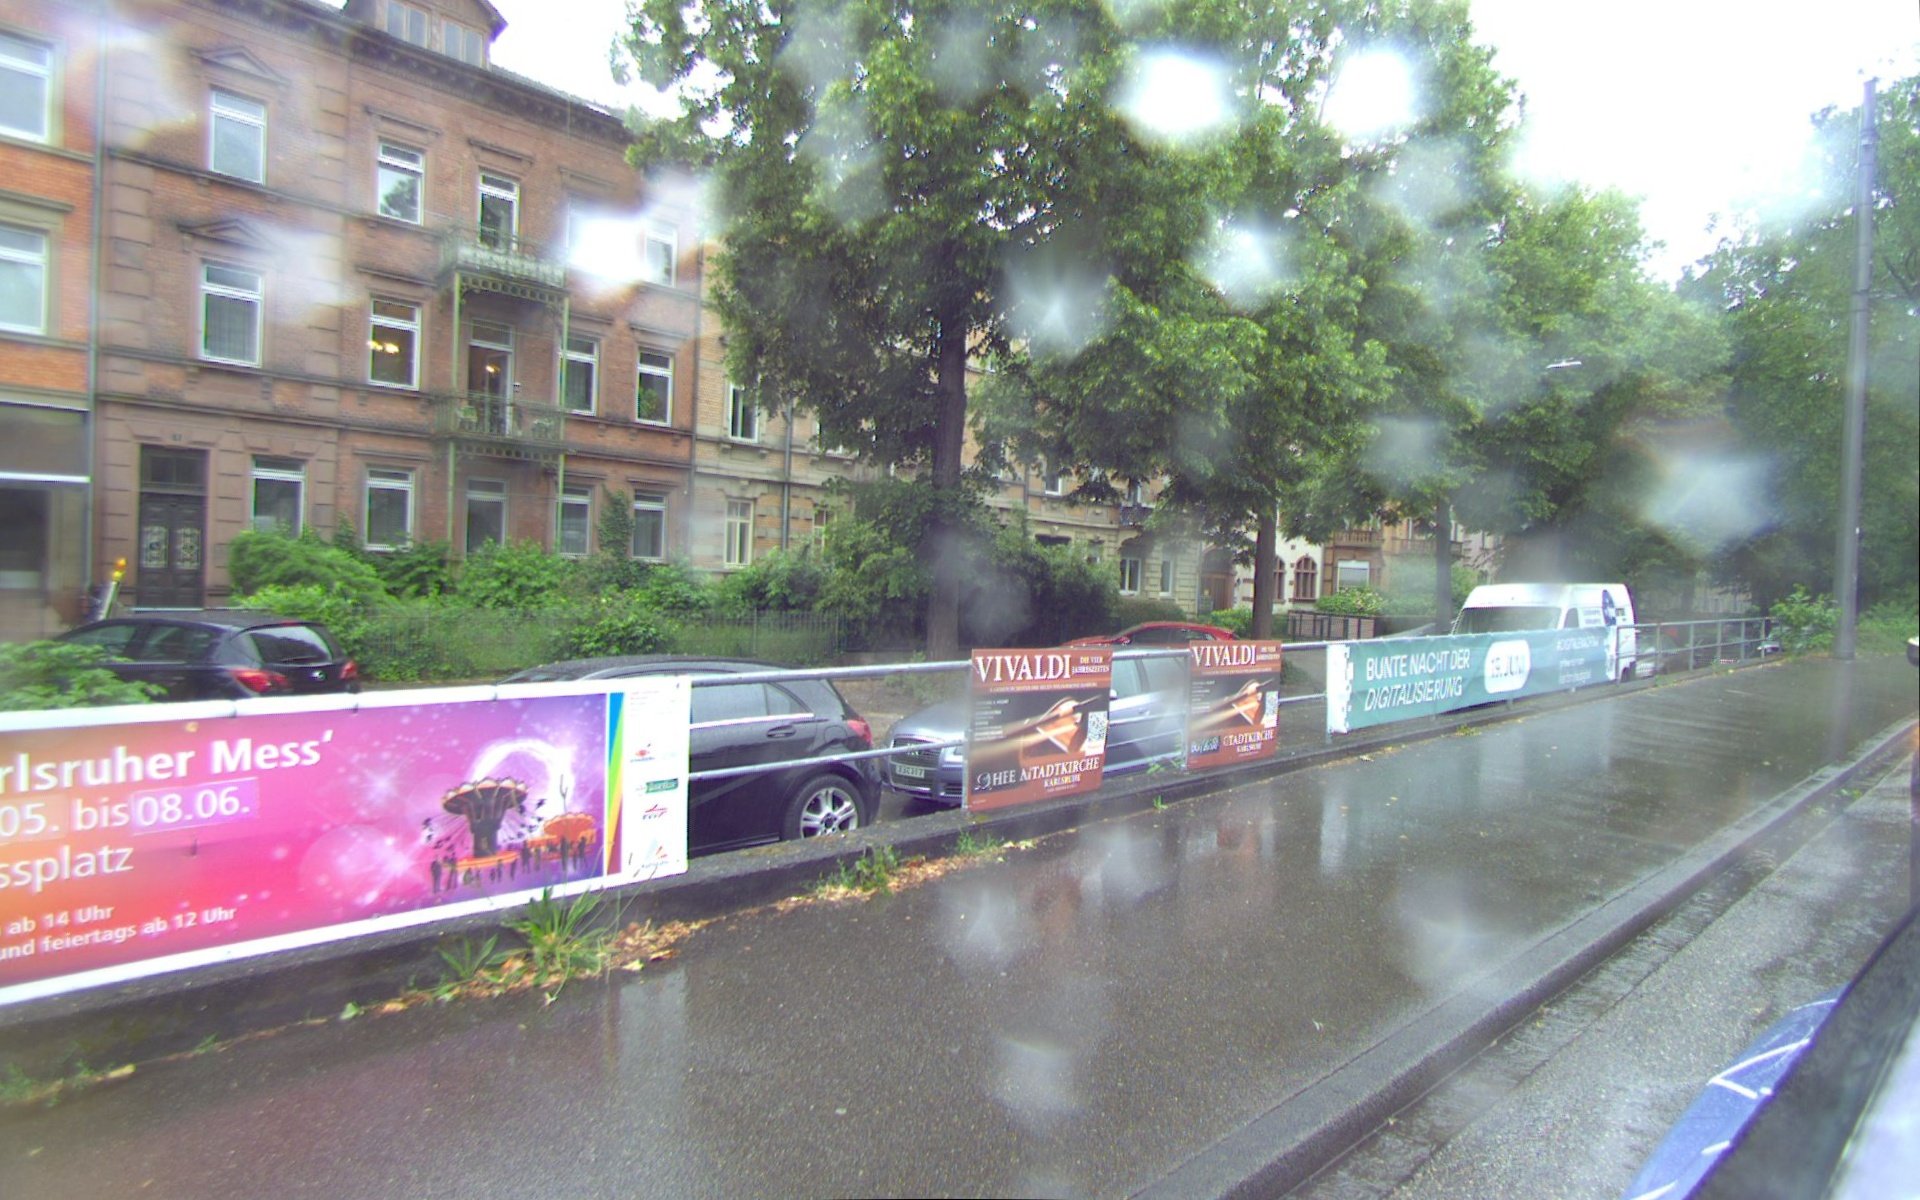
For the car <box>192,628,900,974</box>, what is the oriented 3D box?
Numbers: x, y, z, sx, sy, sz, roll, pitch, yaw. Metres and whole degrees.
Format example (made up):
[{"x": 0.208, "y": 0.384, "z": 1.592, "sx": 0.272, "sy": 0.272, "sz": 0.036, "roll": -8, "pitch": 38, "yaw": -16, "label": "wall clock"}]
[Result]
[{"x": -2.450, "y": 0.967, "z": 6.523, "sx": 3.903, "sy": 1.417, "sz": 1.706, "roll": 0, "pitch": 1, "yaw": -41, "label": "car"}]

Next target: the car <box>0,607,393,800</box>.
[{"x": -8.573, "y": 0.980, "z": 11.085, "sx": 3.946, "sy": 1.735, "sz": 1.989, "roll": 1, "pitch": 1, "yaw": 18, "label": "car"}]

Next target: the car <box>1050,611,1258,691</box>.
[{"x": 4.383, "y": 1.089, "z": 22.732, "sx": 4.372, "sy": 1.471, "sz": 1.888, "roll": 2, "pitch": 1, "yaw": 18, "label": "car"}]

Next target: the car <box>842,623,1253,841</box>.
[{"x": 0.989, "y": 1.057, "z": 9.778, "sx": 4.006, "sy": 1.559, "sz": 1.734, "roll": 0, "pitch": 0, "yaw": -43, "label": "car"}]

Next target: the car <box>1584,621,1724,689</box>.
[{"x": 16.716, "y": 1.241, "z": 24.298, "sx": 4.312, "sy": 1.370, "sz": 1.968, "roll": 0, "pitch": 0, "yaw": -44, "label": "car"}]

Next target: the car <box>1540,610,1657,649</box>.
[{"x": 28.490, "y": 1.307, "z": 45.296, "sx": 3.942, "sy": 1.585, "sz": 1.991, "roll": 0, "pitch": 1, "yaw": 15, "label": "car"}]

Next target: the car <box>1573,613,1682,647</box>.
[{"x": 32.062, "y": 1.424, "z": 48.733, "sx": 3.942, "sy": 1.482, "sz": 1.904, "roll": 1, "pitch": 1, "yaw": 15, "label": "car"}]

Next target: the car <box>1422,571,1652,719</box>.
[{"x": 11.356, "y": 0.736, "z": 19.668, "sx": 6.055, "sy": 2.451, "sz": 2.211, "roll": 0, "pitch": 0, "yaw": -43, "label": "car"}]

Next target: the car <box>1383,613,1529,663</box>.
[{"x": 16.502, "y": 1.234, "z": 33.893, "sx": 4.214, "sy": 1.397, "sz": 1.679, "roll": 2, "pitch": 2, "yaw": 22, "label": "car"}]

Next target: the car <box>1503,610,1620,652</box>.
[{"x": 25.582, "y": 1.286, "z": 43.175, "sx": 3.947, "sy": 1.629, "sz": 1.815, "roll": 1, "pitch": 1, "yaw": 19, "label": "car"}]
